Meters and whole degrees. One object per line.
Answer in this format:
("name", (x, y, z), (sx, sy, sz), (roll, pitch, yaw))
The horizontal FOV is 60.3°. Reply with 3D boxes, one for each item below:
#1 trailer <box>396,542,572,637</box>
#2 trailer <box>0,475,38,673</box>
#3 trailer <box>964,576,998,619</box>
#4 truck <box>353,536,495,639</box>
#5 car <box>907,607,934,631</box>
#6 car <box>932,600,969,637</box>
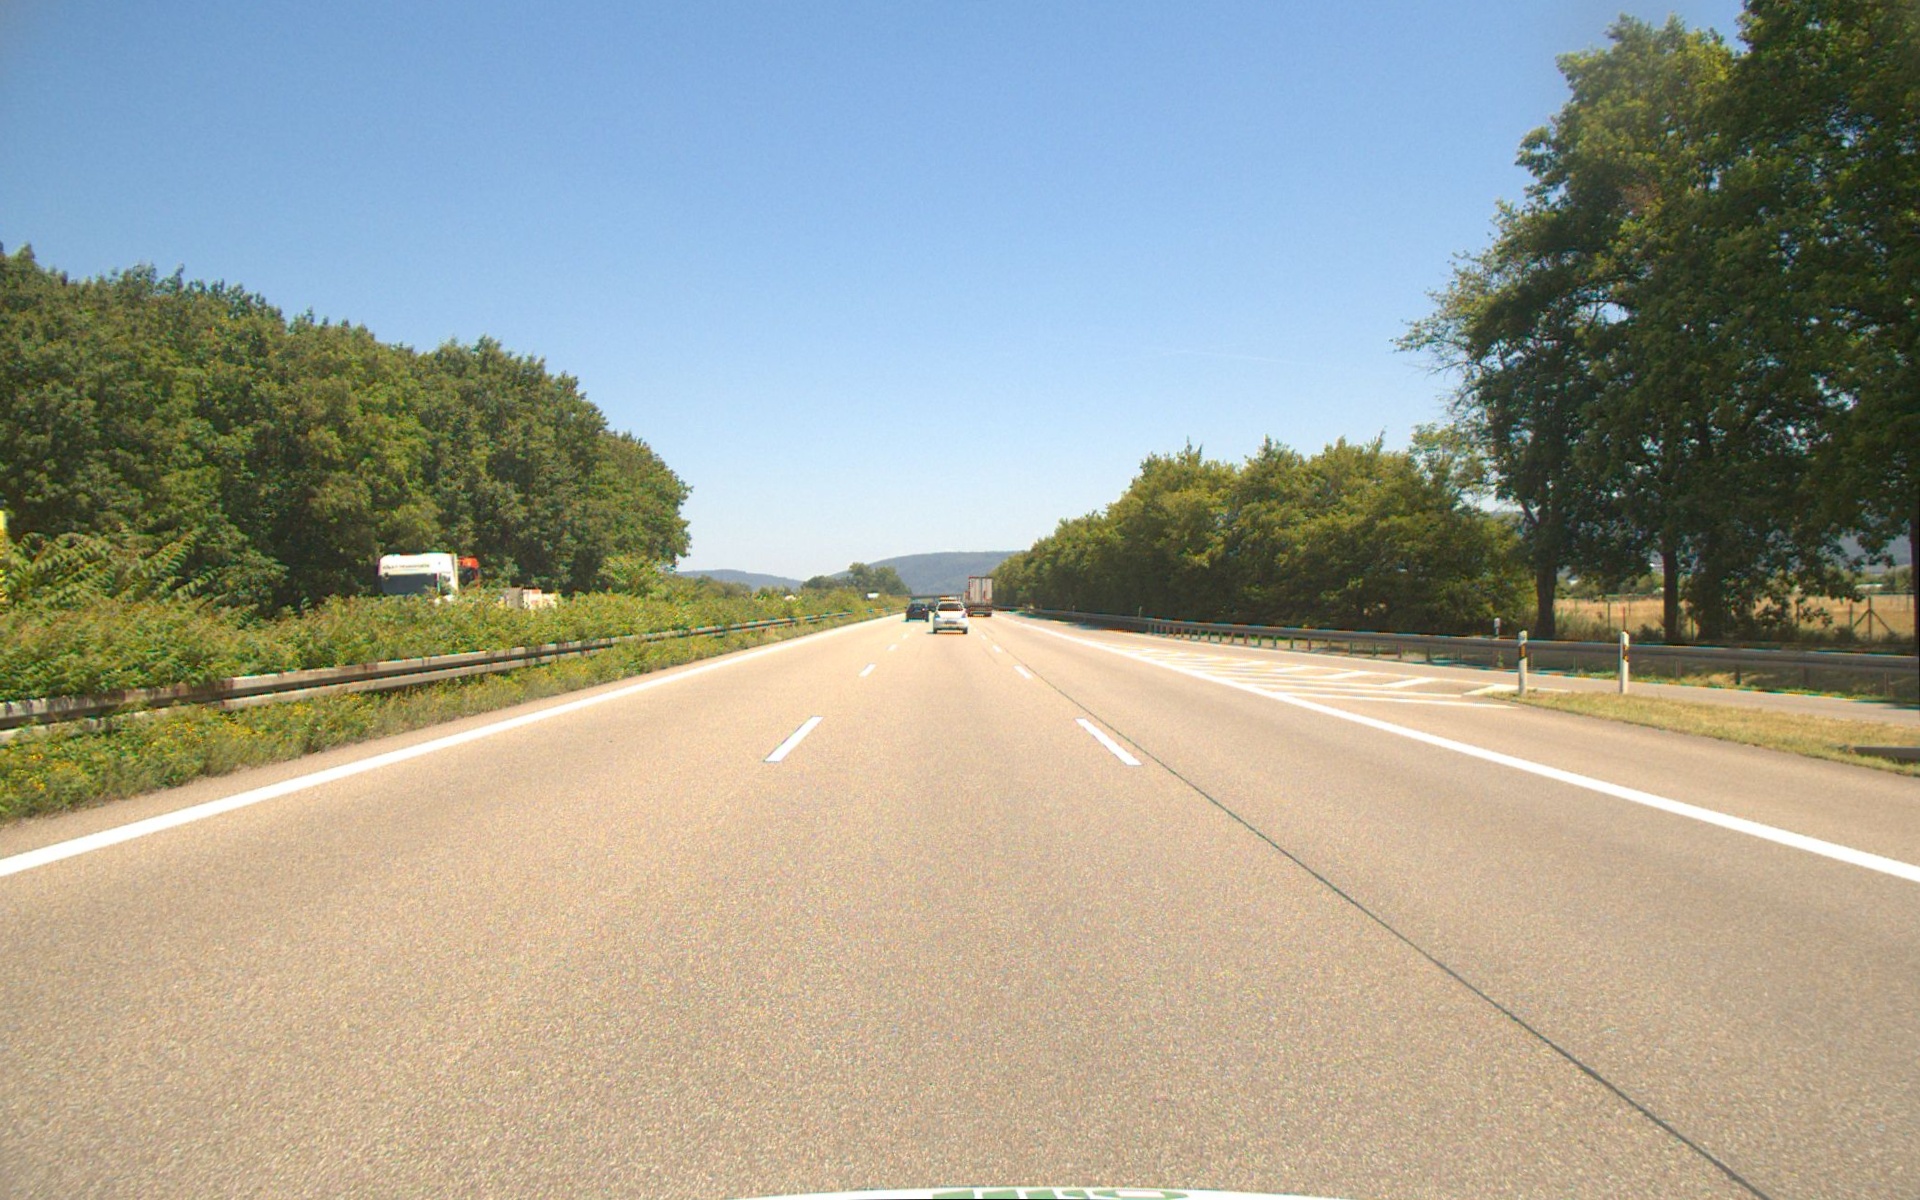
("trailer", (-20.392, -0.386, 72.326), (3.132, 3.642, 15.965), (1, 0, -1))
("trailer", (-20.369, -0.561, 26.877), (3.133, 3.892, 14.019), (1, 0, -1))
("trailer", (2.296, -0.240, 177.871), (3.151, 4.421, 13.633), (1, 0, 2))
("truck", (-20.312, -0.431, 63.132), (3.132, 3.642, 6.995), (1, 0, -1))
("car", (-2.987, 1.402, 125.044), (1.953, 1.742, 3.999), (1, 0, -1))
("car", (-0.486, 0.857, 79.950), (1.697, 1.713, 3.999), (-1, 0, -1))
